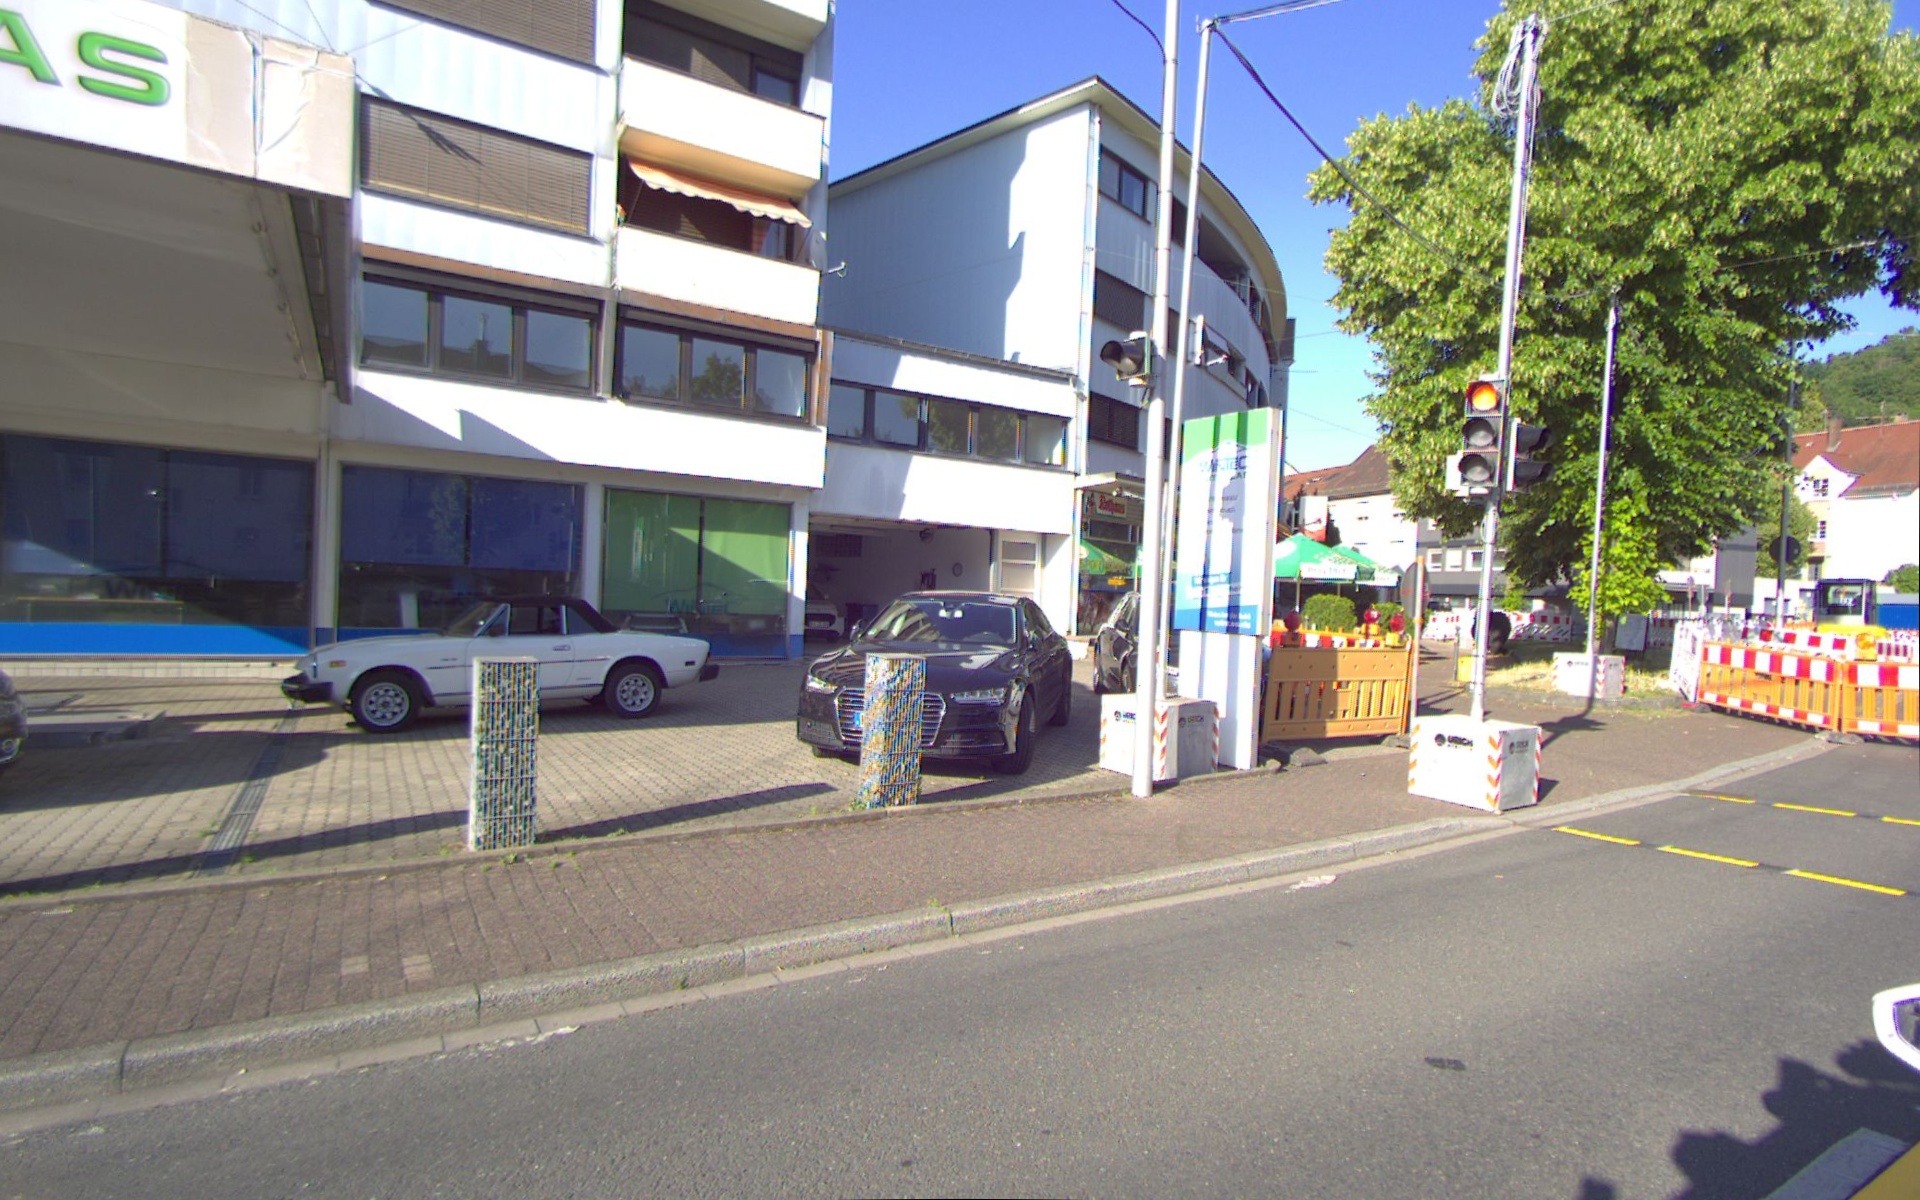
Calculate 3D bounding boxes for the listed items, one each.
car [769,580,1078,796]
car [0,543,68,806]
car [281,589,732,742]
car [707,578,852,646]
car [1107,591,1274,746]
[{"bbox_3d":[-0.049,0.591,9.467,1.872,1.474,4.315,3,1,12],"label":"car"},{"bbox_3d":[-7.488,0.385,5.859,3.325,1.589,1.623,2,1,8],"label":"car"},{"bbox_3d":[-4.620,0.571,10.492,4.097,1.301,1.576,0,1,-35],"label":"car"},{"bbox_3d":[-4.434,0.251,24.253,1.980,1.486,3.961,1,0,-34],"label":"car"},{"bbox_3d":[2.800,0.675,12.440,1.617,1.474,4.301,3,1,12],"label":"car"}]
